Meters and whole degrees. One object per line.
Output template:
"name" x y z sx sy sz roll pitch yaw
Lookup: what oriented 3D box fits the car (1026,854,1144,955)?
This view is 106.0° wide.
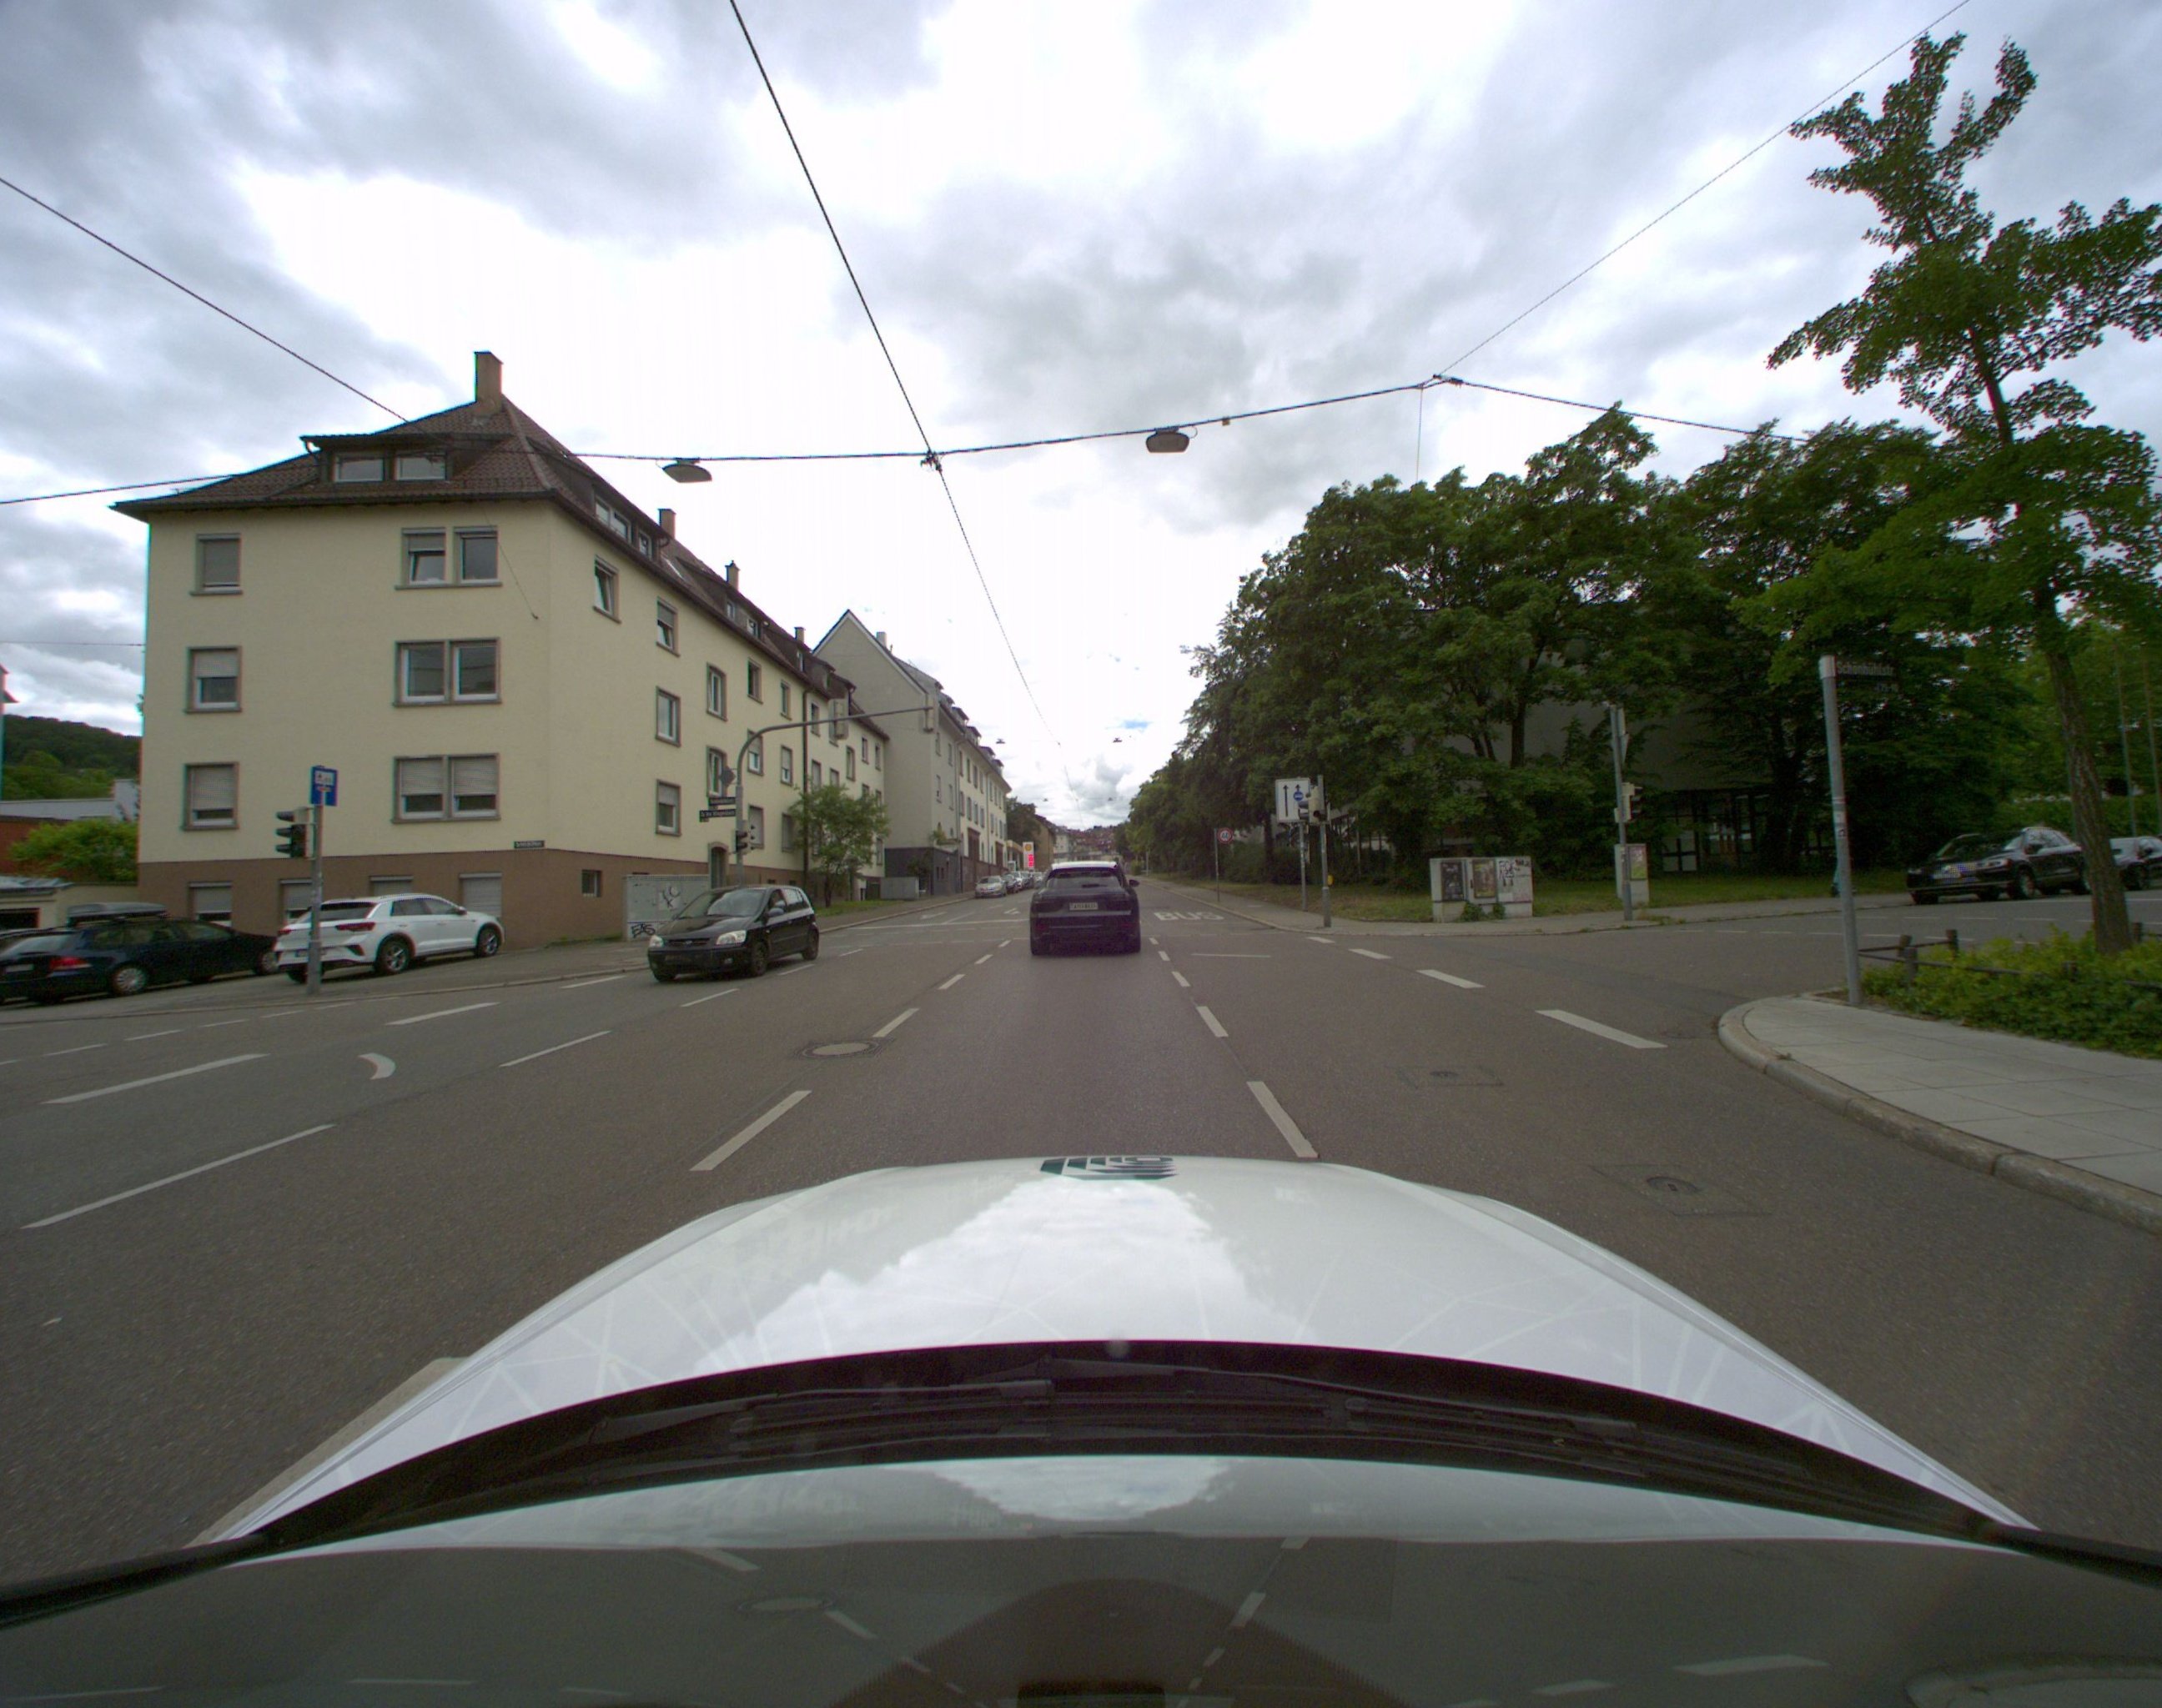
"car" 0.138 0.862 15.831 1.986 1.697 4.002 -1 0 2

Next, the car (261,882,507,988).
"car" -14.141 1.549 16.881 1.666 1.662 3.996 -4 0 -3

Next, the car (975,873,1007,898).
"car" -5.742 2.001 52.527 1.665 1.362 3.998 -2 0 -1

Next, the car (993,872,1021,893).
"car" -5.451 2.070 60.032 1.664 1.362 3.999 -2 0 0

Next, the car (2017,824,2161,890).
"car" 27.776 0.097 22.049 4.003 1.604 1.933 -1 -4 -23

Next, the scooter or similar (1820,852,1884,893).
"scooter or similar" 22.710 0.535 23.987 1.765 1.177 0.528 -1 0 -15

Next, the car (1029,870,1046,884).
"car" -4.887 2.568 91.145 1.664 1.362 3.999 -2 0 0

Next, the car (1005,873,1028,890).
"car" -5.608 2.362 71.099 1.664 1.362 3.999 -2 0 0

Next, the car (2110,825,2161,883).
"car" 32.594 -0.050 23.866 4.003 1.604 1.933 -1 -4 -23

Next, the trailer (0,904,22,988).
"trailer" -26.355 2.161 16.693 2.220 1.928 5.293 -1 0 3

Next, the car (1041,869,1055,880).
"car" -4.436 2.698 108.624 1.664 1.362 3.999 -2 0 0

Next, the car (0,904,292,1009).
"car" -19.109 1.999 16.697 1.664 1.546 4.103 -5 0 2

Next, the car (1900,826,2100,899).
"car" 22.517 0.224 19.975 4.091 1.604 1.933 -1 -4 -23

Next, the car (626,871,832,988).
"car" -5.829 1.168 14.031 1.657 1.519 3.742 -5 0 2

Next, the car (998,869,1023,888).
"car" -5.656 1.953 65.978 1.664 1.362 3.999 -2 0 0

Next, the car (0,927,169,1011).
"car" -21.584 2.358 16.465 1.663 1.362 4.002 -2 0 2

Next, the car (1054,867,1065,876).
"car" -3.478 2.833 135.104 1.664 1.362 3.999 -2 0 0
